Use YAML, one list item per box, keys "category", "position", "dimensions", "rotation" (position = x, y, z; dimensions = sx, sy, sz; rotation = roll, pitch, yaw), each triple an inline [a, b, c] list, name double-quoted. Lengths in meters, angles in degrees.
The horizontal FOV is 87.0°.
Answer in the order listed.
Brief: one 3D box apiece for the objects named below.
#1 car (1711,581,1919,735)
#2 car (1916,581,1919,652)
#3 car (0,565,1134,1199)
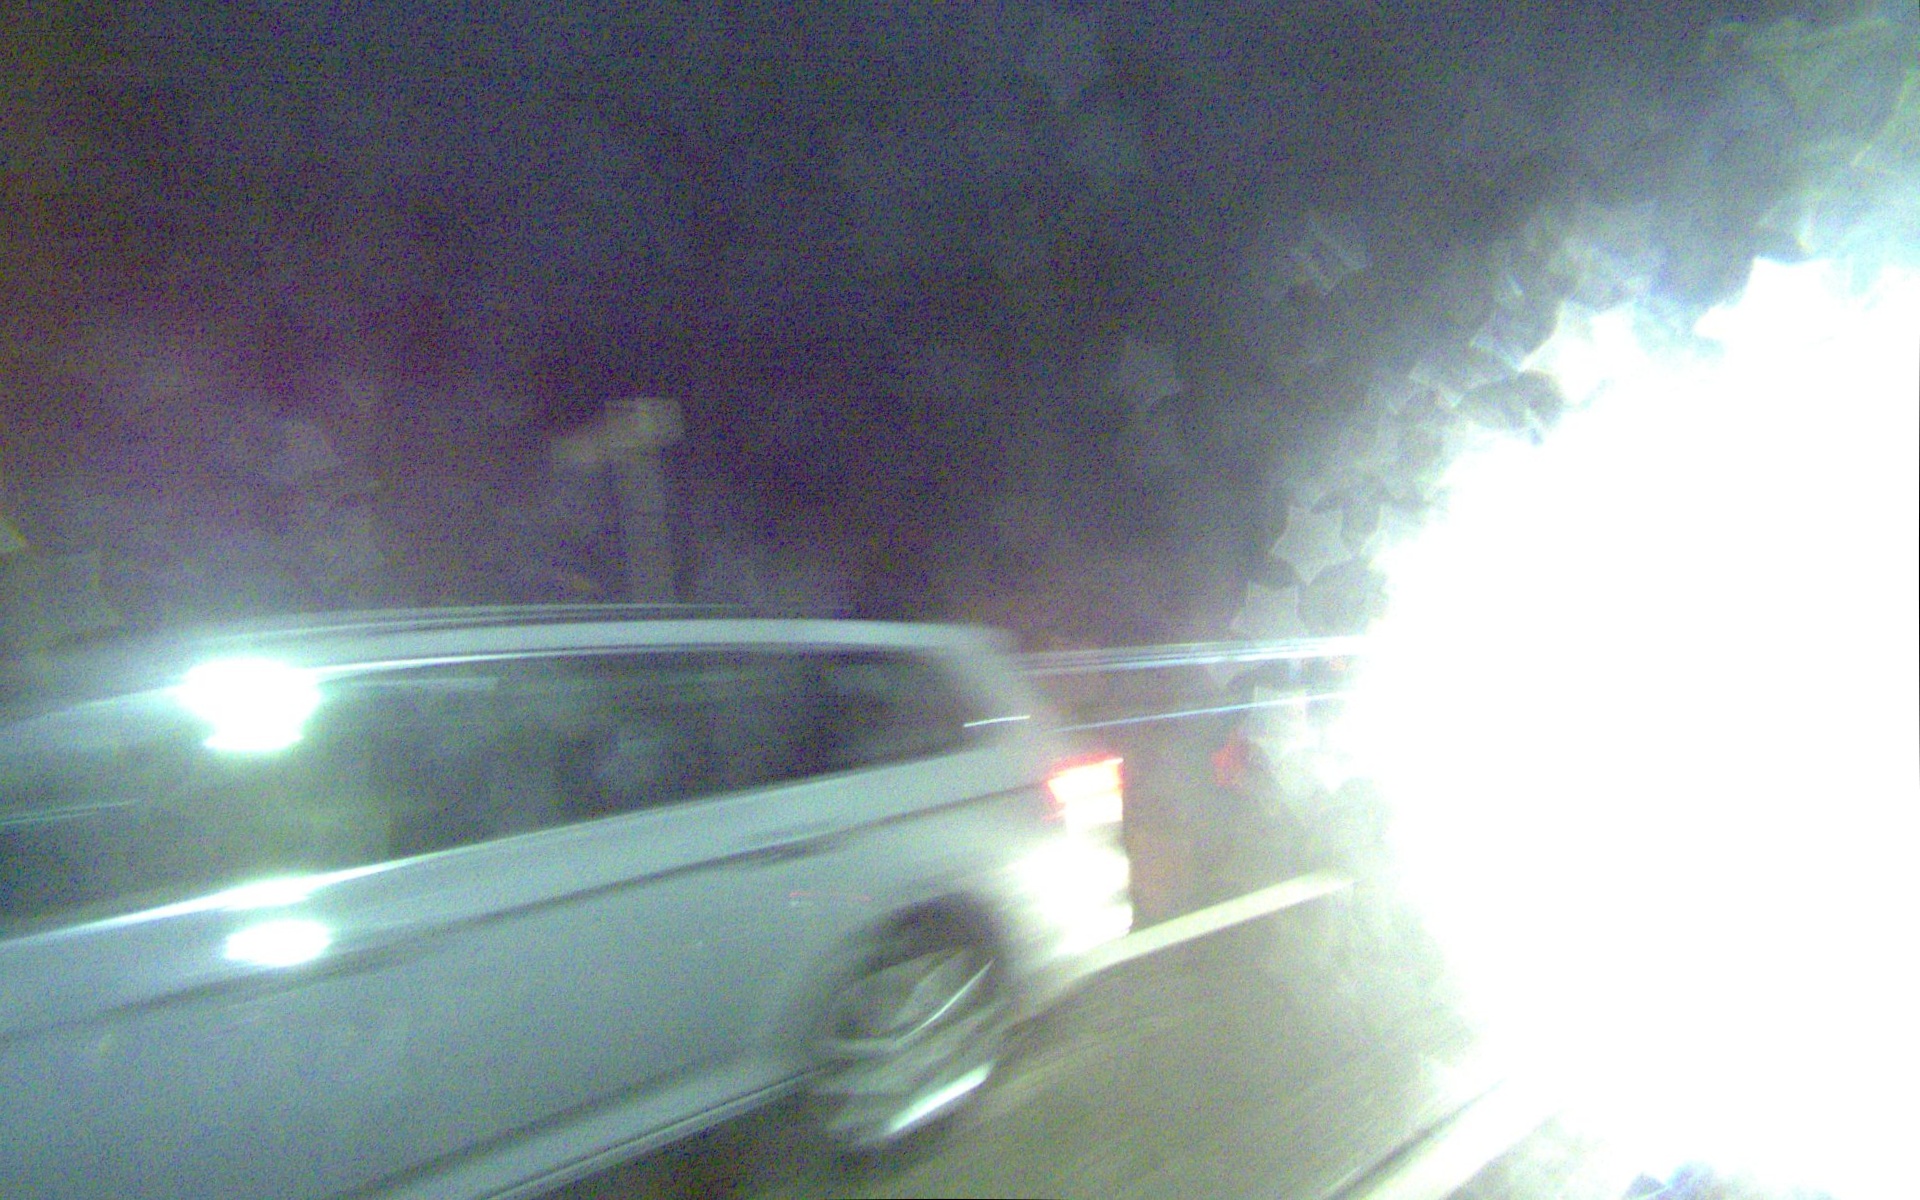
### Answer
- category: "car"
  position: [10.527, 0.546, 11.919]
  dimensions: [3.928, 1.520, 1.764]
  rotation: [-1, 1, -39]
- category: "car"
  position: [22.141, 0.340, 21.603]
  dimensions: [3.928, 1.482, 1.998]
  rotation: [-1, 1, -39]
- category: "car"
  position: [-1.779, 0.686, 2.393]
  dimensions: [4.485, 1.503, 1.826]
  rotation: [-1, 1, -39]
